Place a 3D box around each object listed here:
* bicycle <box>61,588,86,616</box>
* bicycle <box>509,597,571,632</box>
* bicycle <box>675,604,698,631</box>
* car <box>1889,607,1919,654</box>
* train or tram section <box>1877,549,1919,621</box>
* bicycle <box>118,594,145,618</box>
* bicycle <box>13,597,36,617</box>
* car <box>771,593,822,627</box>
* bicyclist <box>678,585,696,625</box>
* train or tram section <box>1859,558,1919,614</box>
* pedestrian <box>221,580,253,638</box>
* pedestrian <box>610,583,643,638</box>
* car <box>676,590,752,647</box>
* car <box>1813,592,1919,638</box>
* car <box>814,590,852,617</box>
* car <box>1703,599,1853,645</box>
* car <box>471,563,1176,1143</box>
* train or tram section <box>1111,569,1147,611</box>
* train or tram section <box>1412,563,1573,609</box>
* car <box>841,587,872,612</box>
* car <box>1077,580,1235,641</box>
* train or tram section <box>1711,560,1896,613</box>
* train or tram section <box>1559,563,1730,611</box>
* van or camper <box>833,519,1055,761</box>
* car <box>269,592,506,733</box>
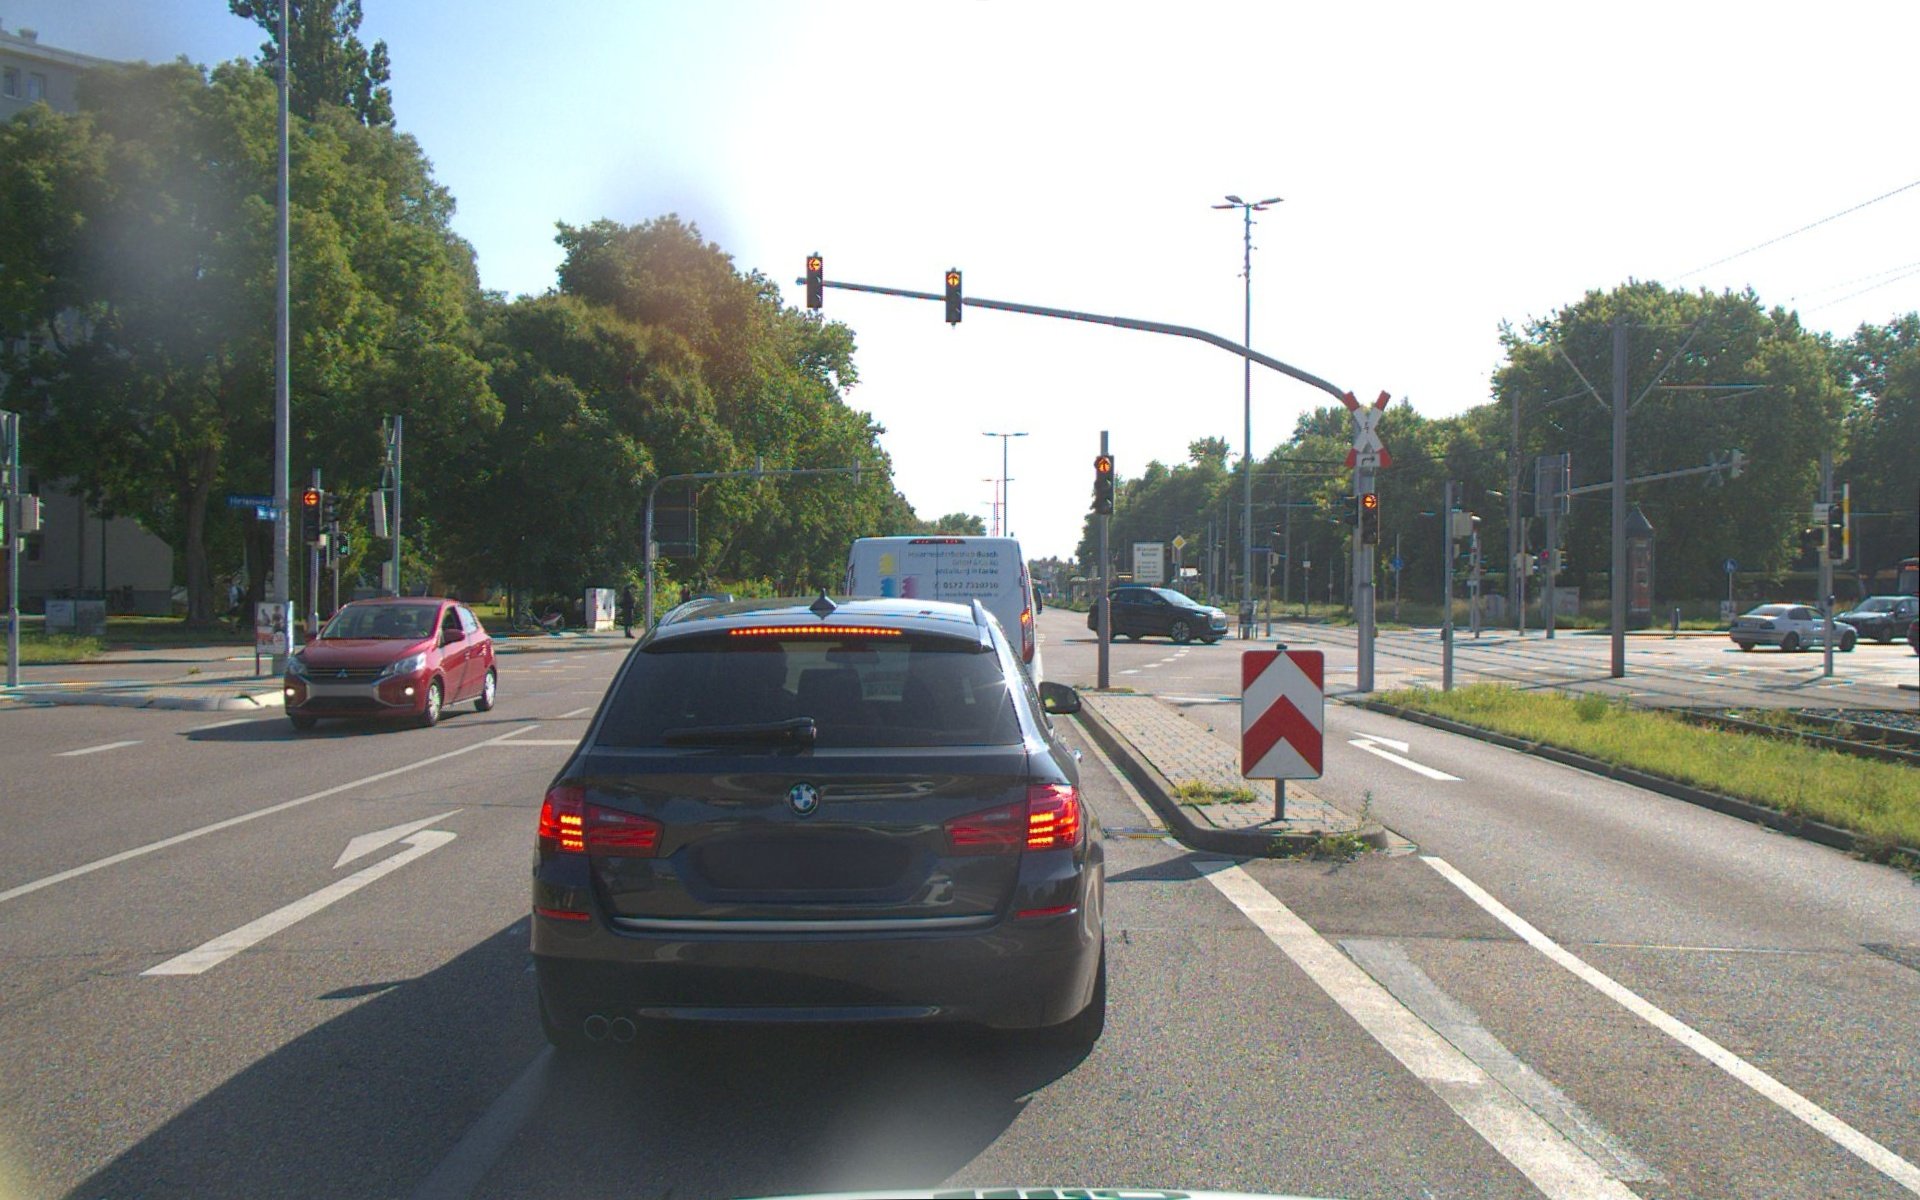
[{"bbox_3d":[-35.150,0.091,65.594,0.606,1.085,1.892,1,-2,-37],"label":"bicycle"},{"bbox_3d":[-13.809,0.488,54.427,1.870,1.138,0.632,0,0,-1],"label":"bicycle"},{"bbox_3d":[-11.002,0.690,66.589,0.607,1.058,2.071,0,0,-1],"label":"bicycle"},{"bbox_3d":[30.163,0.898,49.635,4.342,1.378,1.982,0,0,-28],"label":"car"},{"bbox_3d":[53.154,-0.776,88.094,11.721,3.642,3.015,0,0,-37],"label":"train or tram section"},{"bbox_3d":[-33.472,0.228,66.802,0.663,0.936,2.377,0,0,-35],"label":"bicycle"},{"bbox_3d":[-36.603,0.265,64.684,0.578,0.721,2.211,0,1,-35],"label":"bicycle"},{"bbox_3d":[-7.140,0.430,72.517,1.742,1.439,4.245,0,0,1],"label":"car"},{"bbox_3d":[-10.993,0.204,66.633,0.595,1.587,0.603,2,0,-1],"label":"bicyclist"},{"bbox_3d":[63.744,-0.920,108.475,2.981,3.642,12.231,0,0,0],"label":"train or tram section"},{"bbox_3d":[-22.138,0.279,50.645,0.610,1.743,0.705,0,0,11],"label":"pedestrian"},{"bbox_3d":[-10.970,0.329,54.415,0.798,1.782,0.932,0,0,5],"label":"pedestrian"},{"bbox_3d":[-7.205,0.514,48.720,1.599,1.587,3.677,-2,0,1],"label":"car"},{"bbox_3d":[32.833,0.509,58.935,4.792,1.590,2.025,0,0,-29],"label":"car"},{"bbox_3d":[-7.271,0.173,94.798,1.667,1.490,4.371,-1,0,2],"label":"car"},{"bbox_3d":[25.315,0.660,51.153,4.342,1.377,1.983,0,0,-27],"label":"car"},{"bbox_3d":[-0.381,0.660,6.421,1.864,1.532,4.064,0,0,-1],"label":"car"},{"bbox_3d":[15.771,-0.880,155.270,2.738,3.681,12.960,1,0,3],"label":"train or tram section"},{"bbox_3d":[43.523,-1.125,135.476,12.170,3.642,3.048,0,0,31],"label":"train or tram section"},{"bbox_3d":[-6.734,-0.031,108.172,1.709,1.589,4.000,-2,0,0],"label":"car"},{"bbox_3d":[5.887,0.292,49.908,4.531,1.752,1.642,0,0,37],"label":"car"},{"bbox_3d":[60.927,-0.944,119.875,3.017,3.642,12.087,0,0,-34],"label":"train or tram section"},{"bbox_3d":[53.284,-1.031,128.965,11.984,3.642,3.043,0,0,36],"label":"train or tram section"},{"bbox_3d":[-0.112,0.337,16.886,1.952,2.133,4.599,0,0,1],"label":"van or camper"},{"bbox_3d":[-6.808,0.676,20.043,1.660,1.524,3.675,-1,0,-2],"label":"car"}]
